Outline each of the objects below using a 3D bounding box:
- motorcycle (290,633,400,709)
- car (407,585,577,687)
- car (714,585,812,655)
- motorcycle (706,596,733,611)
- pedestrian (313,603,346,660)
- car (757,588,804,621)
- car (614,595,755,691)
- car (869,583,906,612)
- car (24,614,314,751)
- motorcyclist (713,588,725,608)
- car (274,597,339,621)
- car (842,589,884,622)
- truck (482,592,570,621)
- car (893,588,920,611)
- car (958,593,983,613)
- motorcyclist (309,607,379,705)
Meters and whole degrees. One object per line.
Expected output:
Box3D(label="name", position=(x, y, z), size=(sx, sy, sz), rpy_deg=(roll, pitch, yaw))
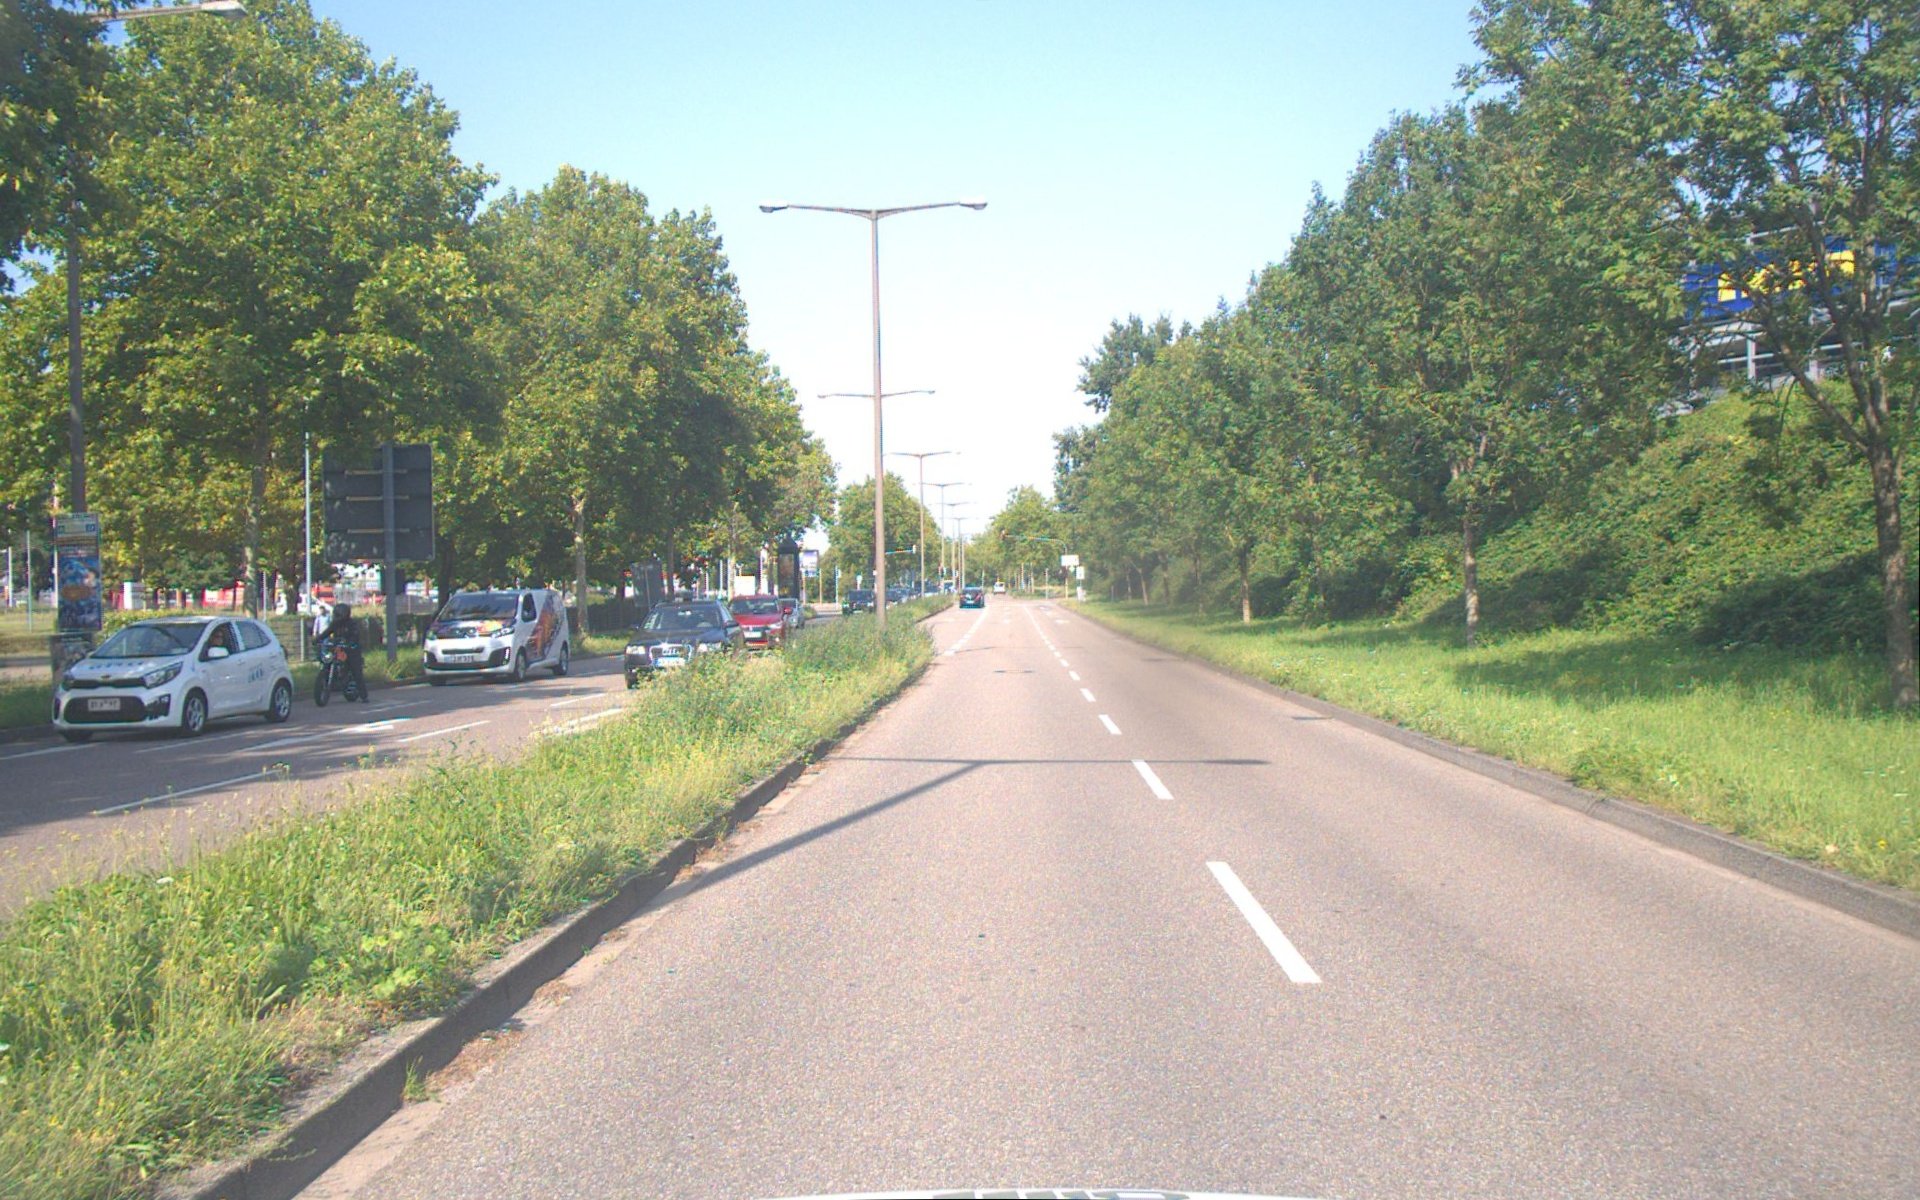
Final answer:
Box3D(label="motorcycle", position=(-10.071, 1.141, 27.201), size=(0.778, 1.126, 2.468), rpy_deg=(0, 0, 3))
Box3D(label="car", position=(-9.698, 0.702, 34.746), size=(1.943, 1.891, 4.970), rpy_deg=(-3, 0, 2))
Box3D(label="car", position=(-5.238, 0.506, 44.502), size=(1.913, 1.754, 4.588), rpy_deg=(-1, 0, 2))
Box3D(label="motorcycle", position=(-19.415, 0.278, 133.490), size=(2.051, 1.156, 0.669), rpy_deg=(-1, 0, -34))
Box3D(label="pedestrian", position=(-19.101, 0.948, 50.112), size=(0.604, 1.681, 0.934), rpy_deg=(0, 0, 1))
Box3D(label="car", position=(-8.604, 0.226, 79.465), size=(1.754, 1.508, 4.000), rpy_deg=(-1, 0, 0))
Box3D(label="car", position=(-4.870, 0.716, 29.866), size=(1.710, 1.505, 4.586), rpy_deg=(-3, 0, 0))
Box3D(label="car", position=(-4.675, -0.159, 106.760), size=(1.952, 1.790, 4.308), rpy_deg=(-3, 0, 2))
Box3D(label="car", position=(-10.023, 0.979, 21.309), size=(1.710, 1.505, 3.832), rpy_deg=(-2, 0, 3))
Box3D(label="motorcyclist", position=(-19.446, -0.155, 133.469), size=(0.675, 1.599, 0.675), rpy_deg=(0, 0, -34))
Box3D(label="car", position=(-46.121, 0.625, 116.692), size=(3.959, 1.709, 1.845), rpy_deg=(0, 0, -38))
Box3D(label="car", position=(-5.387, 0.294, 92.368), size=(1.952, 1.790, 4.478), rpy_deg=(-1, 0, 2))
Box3D(label="truck", position=(-48.867, 0.735, 186.393), size=(8.908, 3.009, 3.472), rpy_deg=(-2, 0, -35))
Box3D(label="car", position=(-3.974, -0.024, 123.266), size=(1.840, 1.622, 4.109), rpy_deg=(0, -1, 1))
Box3D(label="car", position=(0.813, 0.192, 127.388), size=(1.656, 1.512, 4.002), rpy_deg=(-1, 0, 5))
Box3D(label="motorcyclist", position=(-10.079, 0.903, 27.098), size=(0.761, 1.581, 0.923), rpy_deg=(0, 0, 3))
